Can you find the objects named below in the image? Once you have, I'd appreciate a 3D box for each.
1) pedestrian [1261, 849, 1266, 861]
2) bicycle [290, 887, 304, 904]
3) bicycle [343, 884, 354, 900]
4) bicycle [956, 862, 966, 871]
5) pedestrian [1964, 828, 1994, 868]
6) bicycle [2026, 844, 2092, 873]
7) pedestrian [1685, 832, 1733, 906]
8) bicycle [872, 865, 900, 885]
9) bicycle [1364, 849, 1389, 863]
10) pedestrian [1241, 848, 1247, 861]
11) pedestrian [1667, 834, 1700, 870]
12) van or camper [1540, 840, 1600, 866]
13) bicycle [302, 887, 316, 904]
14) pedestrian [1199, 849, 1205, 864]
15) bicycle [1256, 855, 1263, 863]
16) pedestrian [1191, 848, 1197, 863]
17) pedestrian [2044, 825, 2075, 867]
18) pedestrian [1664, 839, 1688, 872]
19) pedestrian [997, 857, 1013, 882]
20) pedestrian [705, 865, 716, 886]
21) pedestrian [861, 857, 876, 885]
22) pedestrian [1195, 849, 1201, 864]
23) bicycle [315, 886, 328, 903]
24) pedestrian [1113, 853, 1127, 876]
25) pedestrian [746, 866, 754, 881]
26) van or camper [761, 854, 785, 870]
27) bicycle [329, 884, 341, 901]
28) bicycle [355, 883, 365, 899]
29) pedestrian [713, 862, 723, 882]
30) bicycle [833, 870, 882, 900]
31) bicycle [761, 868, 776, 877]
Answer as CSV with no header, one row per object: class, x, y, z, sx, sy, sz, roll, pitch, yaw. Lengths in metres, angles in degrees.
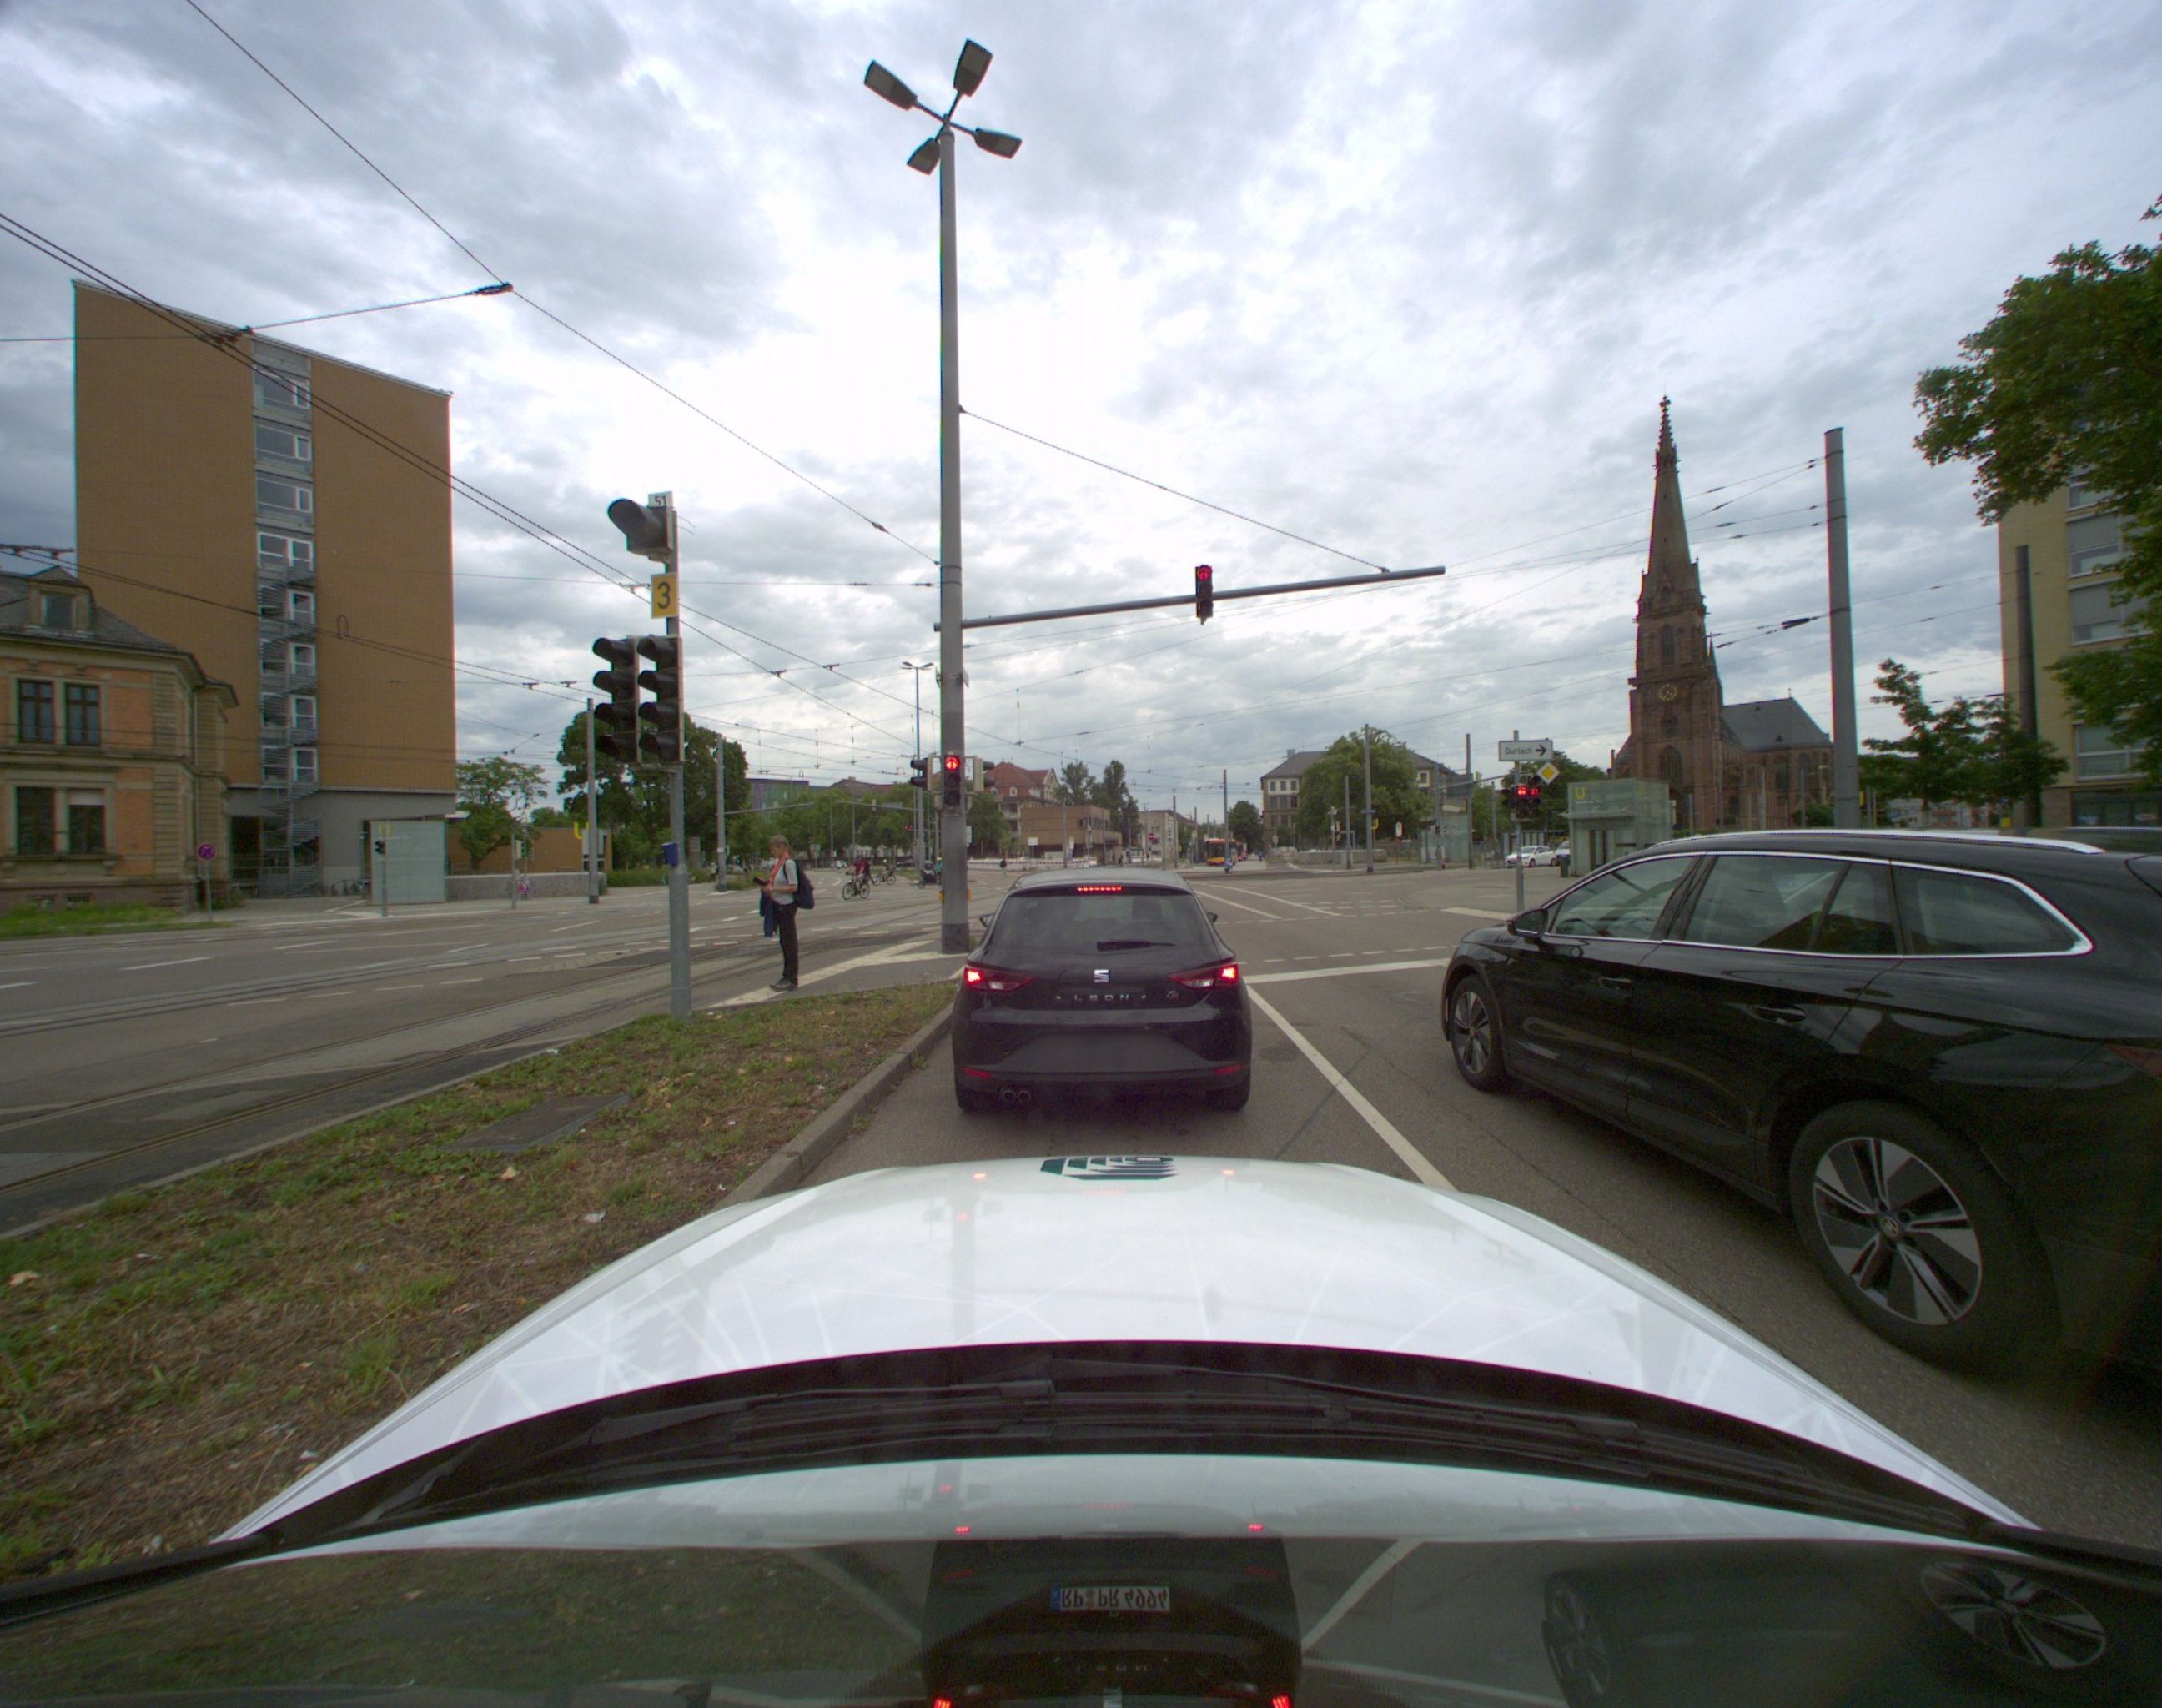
pedestrian,29.803,0.201,132.800,0.659,2.013,0.692,-1,0,2
bicycle,-52.540,2.783,54.560,0.575,1.106,1.411,-1,0,-41
bicycle,-50.656,2.621,56.292,0.512,1.049,1.411,-1,0,-41
bicycle,-16.001,1.652,108.701,0.895,1.178,2.287,-1,0,-20
pedestrian,36.987,-0.242,33.542,0.875,1.638,0.631,-1,0,-31
bicycle,31.505,0.144,26.242,0.596,0.917,1.253,-1,0,-28
pedestrian,16.976,0.395,22.005,0.878,1.930,1.023,-1,0,43
bicycle,-13.556,1.474,56.676,1.741,1.321,0.639,-1,0,-30
bicycle,29.654,0.186,81.737,2.248,1.331,0.709,-2,-2,9
pedestrian,24.358,0.101,121.690,0.659,2.013,0.692,-1,0,2
pedestrian,31.221,-0.088,42.211,0.951,1.797,1.076,-1,-2,-34
van or camper,35.270,-0.085,58.691,4.321,1.742,1.979,-1,-2,-34
bicycle,-52.090,2.769,54.965,0.575,1.106,1.411,-1,0,-41
pedestrian,15.483,0.342,104.335,0.617,1.918,0.701,-2,0,11
bicycle,25.692,0.725,117.112,0.859,1.104,2.310,-1,0,14
pedestrian,14.422,0.153,103.957,0.617,1.918,0.701,-2,0,11
pedestrian,38.662,-0.328,32.175,0.875,1.638,0.631,-1,0,-31
pedestrian,29.889,0.083,40.905,0.875,1.638,0.631,-1,0,-32
pedestrian,-6.036,1.223,64.485,1.032,1.934,0.695,-2,0,-24
pedestrian,-34.213,1.992,75.213,0.799,1.981,0.872,-1,-2,-33
pedestrian,-15.645,1.277,60.011,1.023,2.013,0.841,-1,0,-18
pedestrian,15.139,0.354,105.277,0.618,1.918,0.711,-2,0,5
bicycle,-51.644,2.770,55.371,0.575,1.106,1.411,-1,0,-41
pedestrian,3.467,0.920,71.651,0.692,1.934,1.037,-2,0,40
pedestrian,-42.808,2.509,105.288,0.880,1.981,0.791,-1,-2,-17
van or camper,-62.832,1.725,166.002,5.434,3.124,2.410,-2,0,43
bicycle,-51.160,2.631,55.847,0.575,1.106,1.411,-1,0,-41
bicycle,-50.243,2.591,56.731,0.484,1.049,1.411,-1,0,-41
pedestrian,-37.203,1.832,83.472,0.799,1.981,0.872,-1,-2,-33
bicycle,-9.557,1.328,34.946,0.767,1.184,2.045,-2,0,30
bicycle,-41.665,2.439,108.611,0.936,1.179,2.729,-2,0,0
